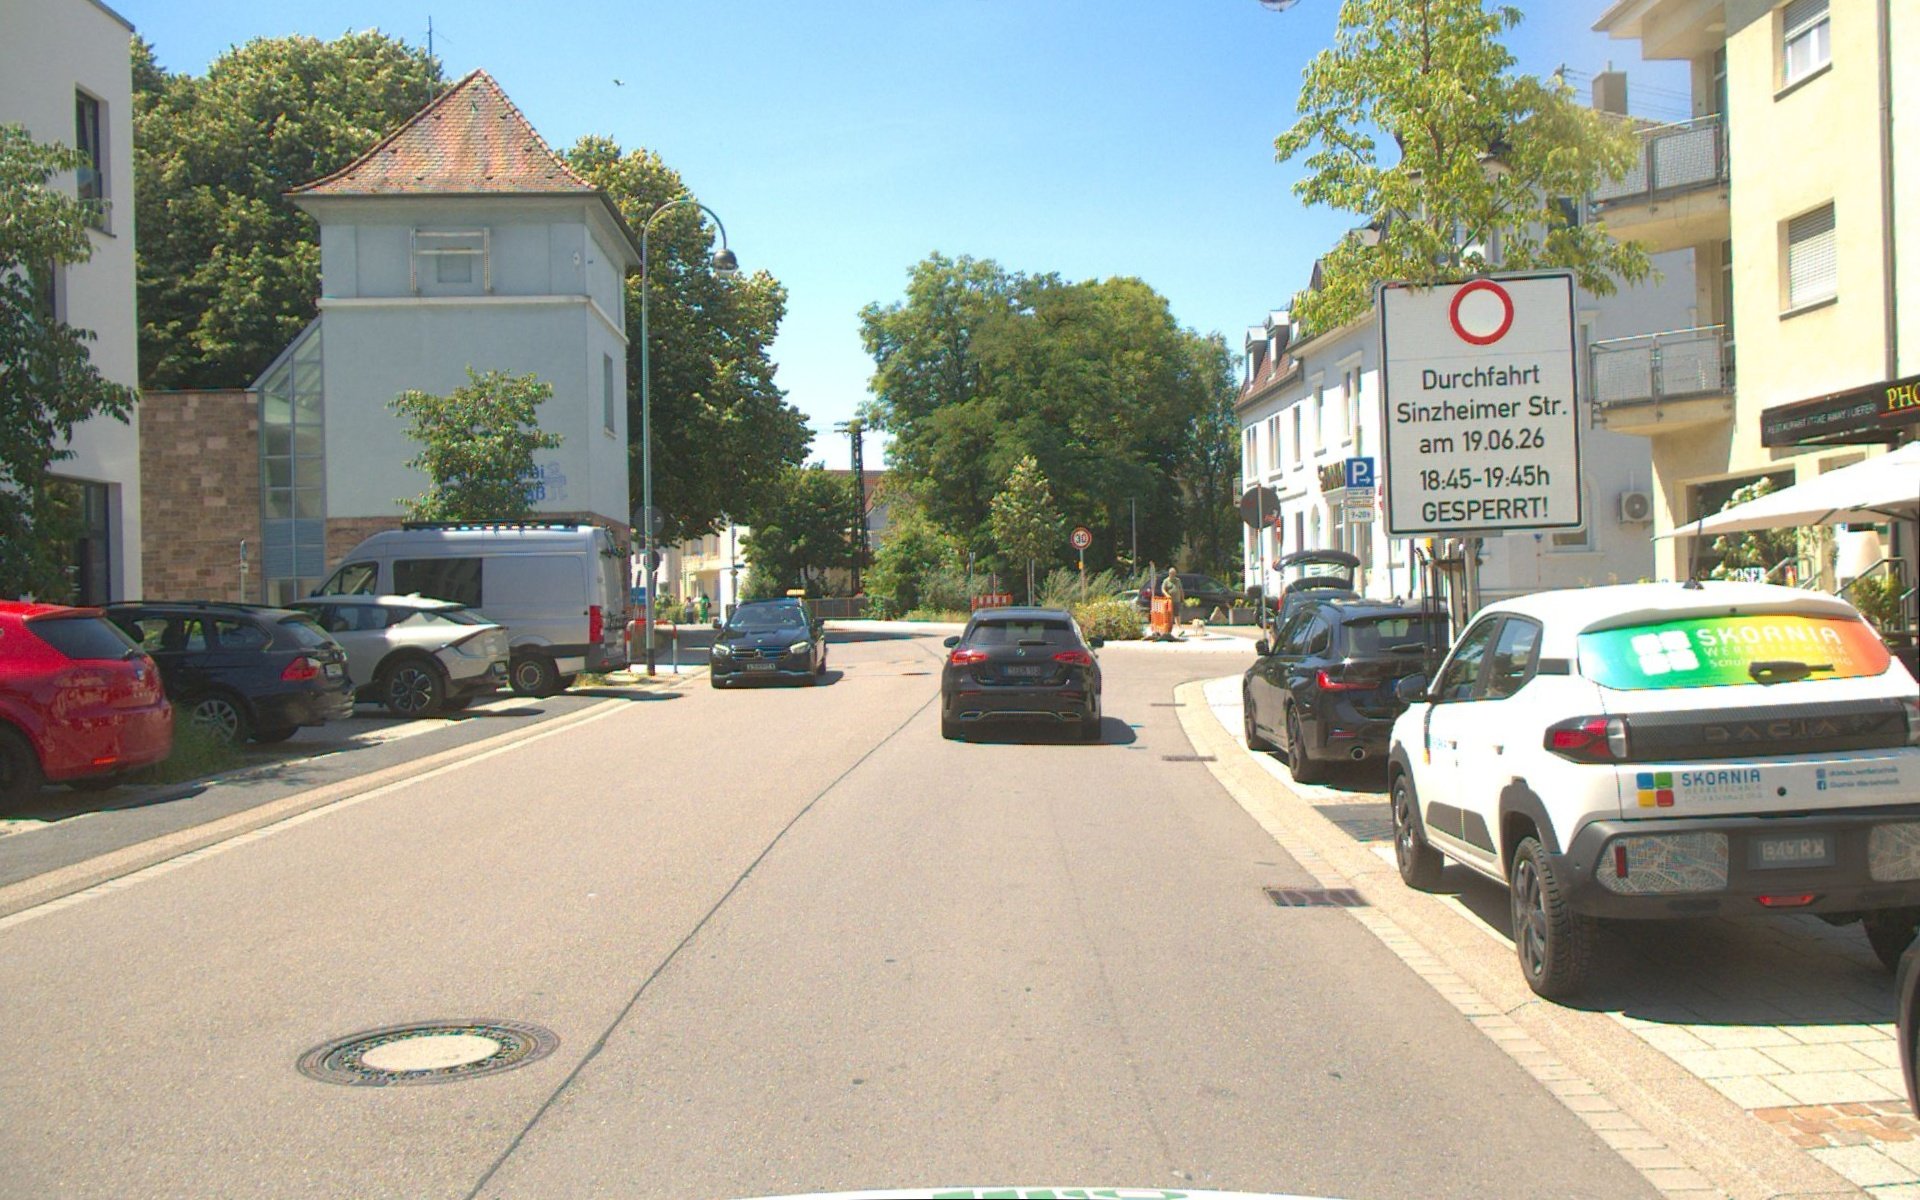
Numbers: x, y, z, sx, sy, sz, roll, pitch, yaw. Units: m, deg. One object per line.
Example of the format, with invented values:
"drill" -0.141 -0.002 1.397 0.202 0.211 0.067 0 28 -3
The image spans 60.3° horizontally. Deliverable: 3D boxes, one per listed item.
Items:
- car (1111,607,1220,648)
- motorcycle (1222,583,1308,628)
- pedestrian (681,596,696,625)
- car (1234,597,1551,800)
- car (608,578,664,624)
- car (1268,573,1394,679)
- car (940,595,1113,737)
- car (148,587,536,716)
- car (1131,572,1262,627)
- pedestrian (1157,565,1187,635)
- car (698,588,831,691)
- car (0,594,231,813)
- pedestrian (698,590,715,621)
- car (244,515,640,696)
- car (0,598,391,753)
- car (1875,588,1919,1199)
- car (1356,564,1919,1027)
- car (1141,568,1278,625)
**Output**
"car" 8.159 1.085 65.478 4.159 1.372 1.837 1 6 -38
"motorcycle" 8.950 0.151 48.575 2.329 1.297 0.855 0 0 -2
"pedestrian" -15.790 0.604 96.220 0.608 1.641 0.828 -1 -1 -32
"car" 3.565 0.737 14.490 1.688 1.430 4.610 -2 0 2
"car" -19.321 0.079 98.488 2.107 2.586 4.609 -1 -1 -26
"car" 6.105 0.378 27.368 1.832 1.517 3.865 -3 1 12
"car" 0.807 0.754 19.354 1.789 1.467 4.001 -1 -2 3
"car" -8.040 0.657 21.855 4.364 1.619 1.999 0 -1 -2
"car" 7.716 -0.013 54.201 3.994 1.746 1.855 0 -1 -4
"pedestrian" 5.678 -0.009 44.284 0.730 1.827 0.844 -1 1 6
"car" -3.426 0.634 29.842 1.855 1.580 4.798 -2 1 -1
"car" -7.793 0.694 12.170 3.949 1.455 2.000 0 1 0
"pedestrian" -14.645 0.309 95.643 0.658 1.772 0.690 -1 -1 -45
"car" -8.223 0.089 26.721 5.650 2.780 2.291 0 -1 -1
"car" -8.076 0.720 16.595 4.118 1.463 1.883 0 -1 -6
"car" 3.113 0.645 1.989 1.795 1.508 4.096 -3 -1 2
"car" 3.087 0.670 7.667 1.701 1.512 4.056 -4 -1 4
"car" 7.828 -0.097 52.124 3.994 1.746 1.855 0 -1 -4
